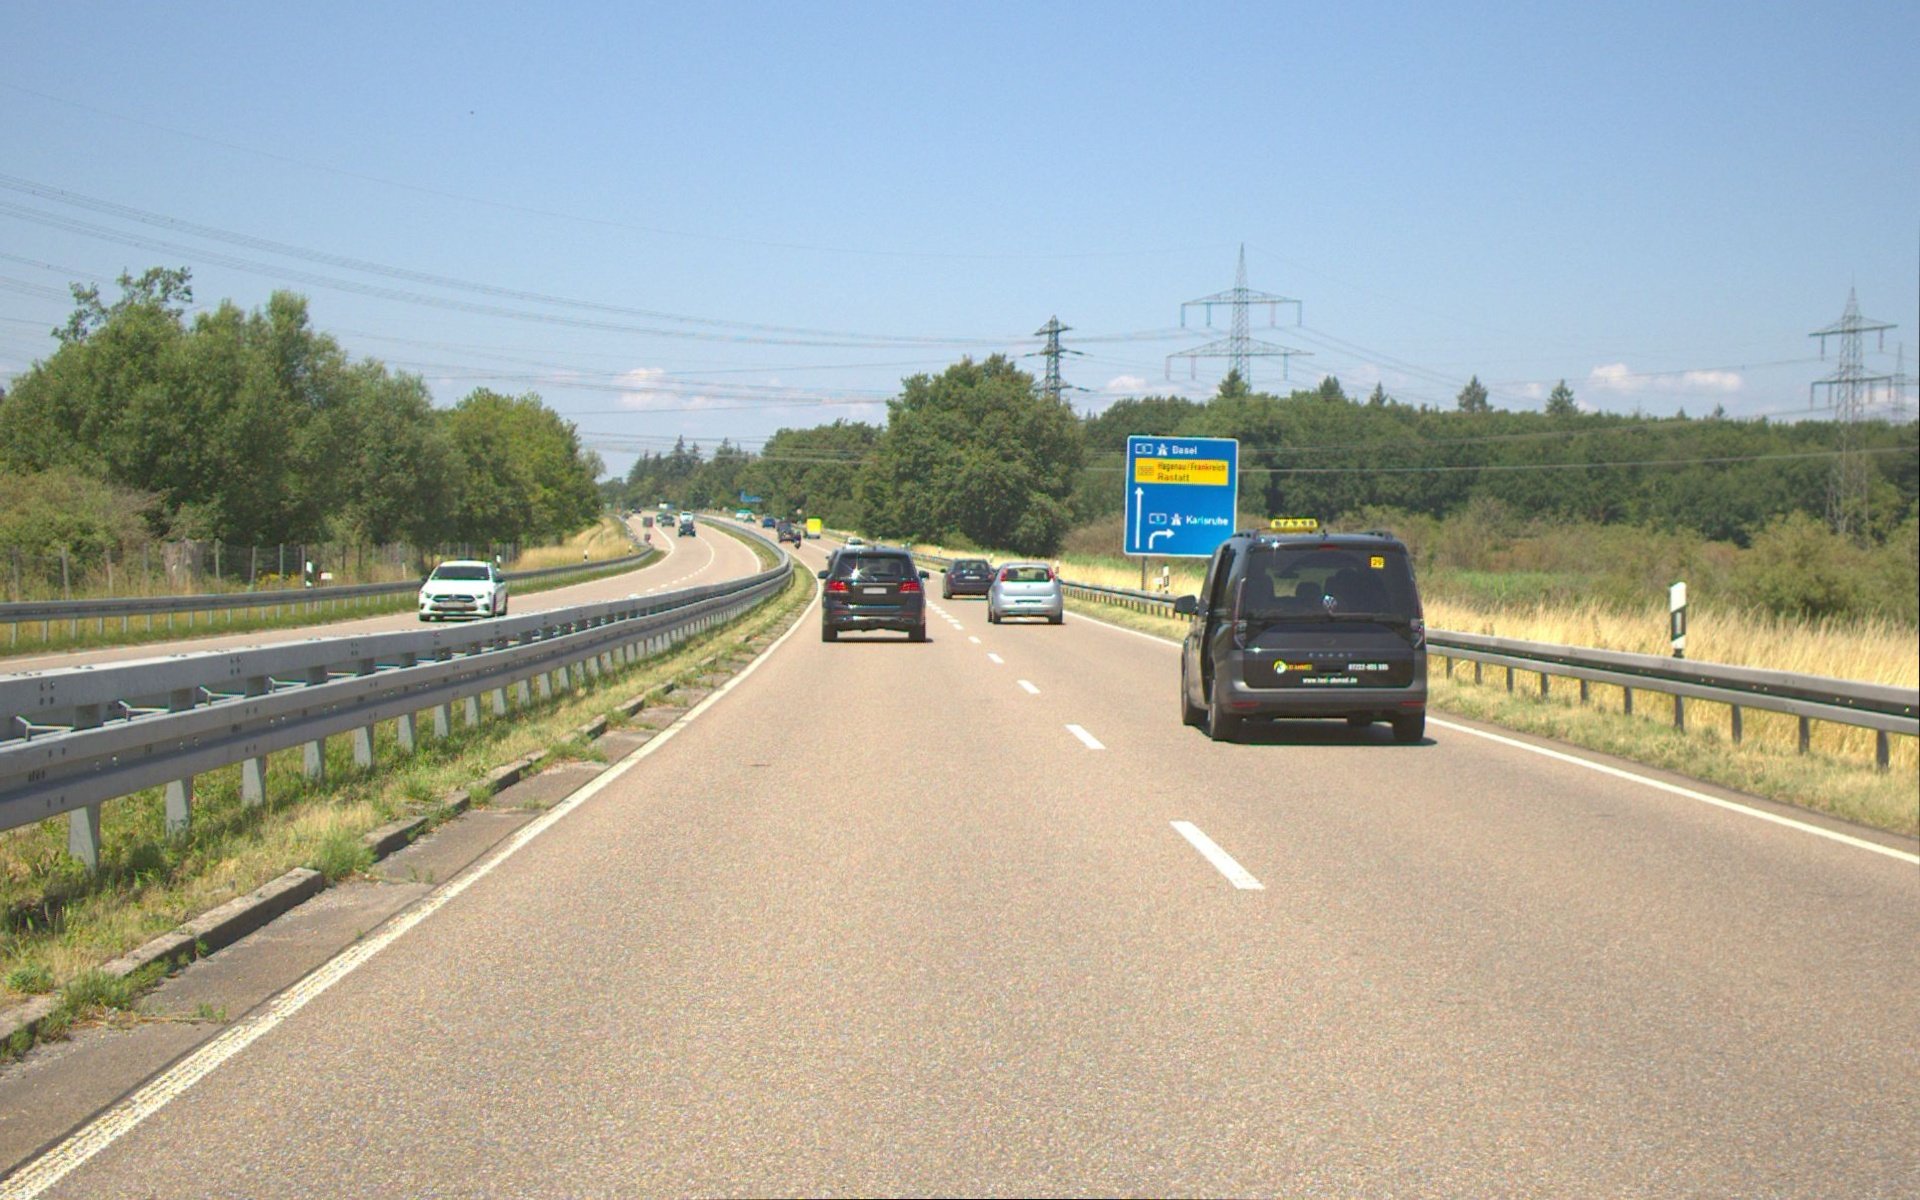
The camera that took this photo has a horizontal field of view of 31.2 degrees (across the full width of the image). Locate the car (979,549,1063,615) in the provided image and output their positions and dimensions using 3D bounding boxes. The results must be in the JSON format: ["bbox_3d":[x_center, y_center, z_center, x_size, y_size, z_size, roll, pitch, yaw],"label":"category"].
[{"bbox_3d":[1.436,-0.442,82.344,1.779,1.474,4.316,2,1,-2],"label":"car"}]

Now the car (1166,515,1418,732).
[{"bbox_3d":[2.931,0.150,31.163,1.779,1.810,4.213,1,1,-1],"label":"car"}]

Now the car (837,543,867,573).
[{"bbox_3d":[-5.750,-2.261,183.522,1.514,1.470,3.066,3,1,-2],"label":"car"}]

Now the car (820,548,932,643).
[{"bbox_3d":[-1.585,-0.109,64.436,1.993,1.649,4.000,2,1,-2],"label":"car"}]

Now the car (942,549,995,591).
[{"bbox_3d":[0.284,-1.080,121.581,1.819,1.409,4.000,0,1,-1],"label":"car"}]

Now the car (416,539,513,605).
[{"bbox_3d":[-12.003,-0.695,83.462,1.827,1.492,4.103,2,1,-2],"label":"car"}]
